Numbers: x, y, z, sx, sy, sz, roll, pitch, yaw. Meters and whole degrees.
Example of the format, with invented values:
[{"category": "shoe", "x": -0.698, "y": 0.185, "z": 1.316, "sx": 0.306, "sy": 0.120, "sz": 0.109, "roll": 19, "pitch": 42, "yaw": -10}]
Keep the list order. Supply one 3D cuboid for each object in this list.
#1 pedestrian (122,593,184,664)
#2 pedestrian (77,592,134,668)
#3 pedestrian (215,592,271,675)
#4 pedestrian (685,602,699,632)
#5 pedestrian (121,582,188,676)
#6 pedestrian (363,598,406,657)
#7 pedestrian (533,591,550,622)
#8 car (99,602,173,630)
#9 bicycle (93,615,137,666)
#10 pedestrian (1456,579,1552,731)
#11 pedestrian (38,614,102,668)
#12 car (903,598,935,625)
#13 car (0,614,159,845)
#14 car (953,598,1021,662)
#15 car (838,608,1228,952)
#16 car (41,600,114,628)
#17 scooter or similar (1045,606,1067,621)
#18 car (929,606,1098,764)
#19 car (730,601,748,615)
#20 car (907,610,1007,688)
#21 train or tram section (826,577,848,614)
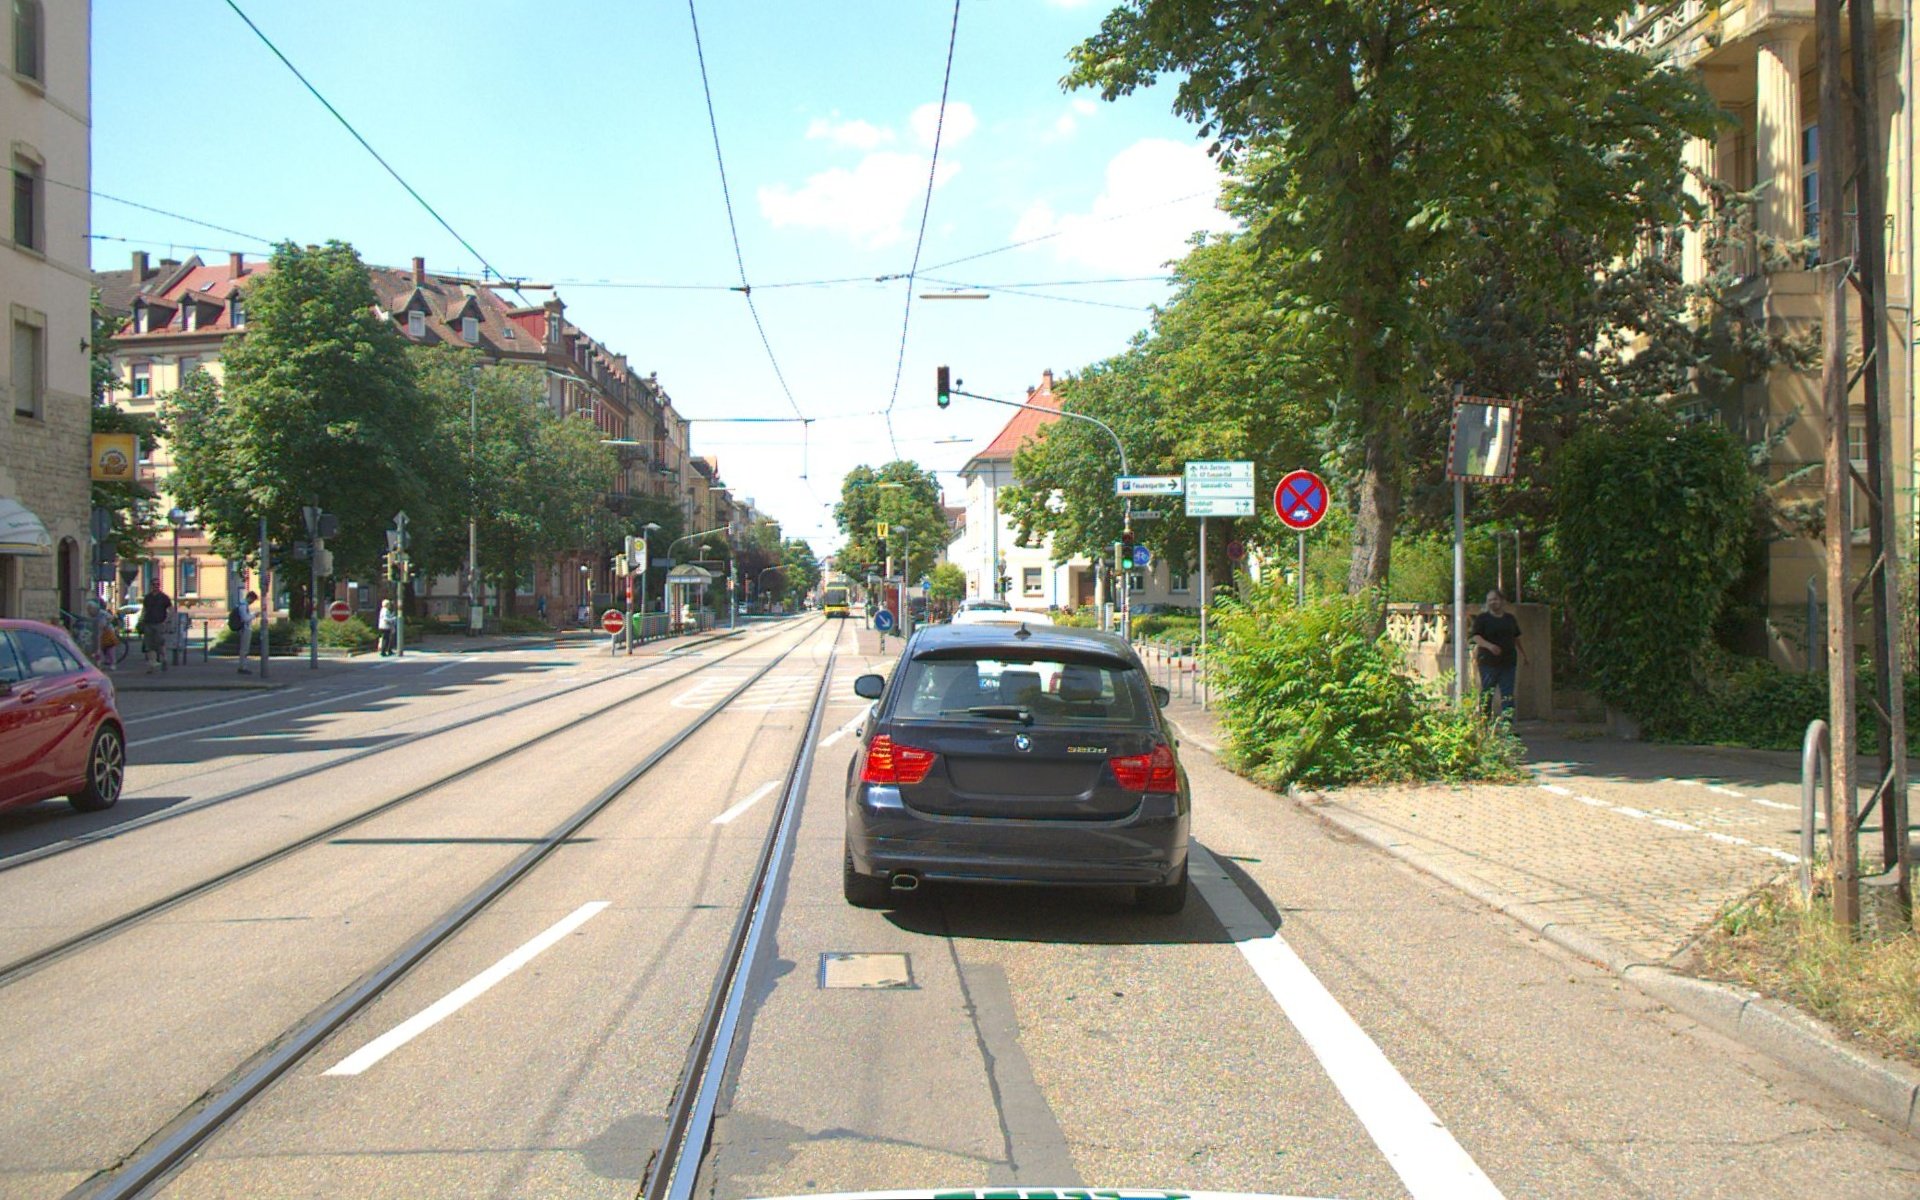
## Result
[{"category": "pedestrian", "x": -19.112, "y": 0.667, "z": 39.172, "sx": 1.002, "sy": 1.664, "sz": 0.863, "roll": 0, "pitch": 0, "yaw": 22}, {"category": "pedestrian", "x": -18.347, "y": 0.633, "z": 35.545, "sx": 0.791, "sy": 1.622, "sz": 0.918, "roll": 0, "pitch": 0, "yaw": -5}, {"category": "pedestrian", "x": -15.542, "y": 0.716, "z": 35.875, "sx": 0.842, "sy": 1.763, "sz": 0.775, "roll": 1, "pitch": 0, "yaw": -2}, {"category": "pedestrian", "x": -11.456, "y": 0.737, "z": 70.715, "sx": 0.602, "sy": 1.264, "sz": 0.626, "roll": 0, "pitch": 0, "yaw": -10}, {"category": "pedestrian", "x": -16.884, "y": 0.601, "z": 34.701, "sx": 0.883, "sy": 1.924, "sz": 1.163, "roll": 0, "pitch": 0, "yaw": -5}, {"category": "pedestrian", "x": -17.538, "y": 0.831, "z": 50.394, "sx": 0.897, "sy": 1.753, "sz": 0.840, "roll": 0, "pitch": 0, "yaw": 21}, {"category": "pedestrian", "x": -24.739, "y": 0.394, "z": 97.736, "sx": 0.629, "sy": 1.843, "sz": 0.736, "roll": -1, "pitch": 0, "yaw": 41}, {"category": "car", "x": -44.314, "y": 0.839, "z": 88.953, "sx": 3.388, "sy": 1.497, "sz": 1.685, "roll": 0, "pitch": 0, "yaw": 21}, {"category": "bicycle", "x": -19.588, "y": 0.944, "z": 38.313, "sx": 0.539, "sy": 1.148, "sz": 1.658, "roll": 0, "pitch": -2, "yaw": -40}, {"category": "pedestrian", "x": 6.169, "y": 0.610, "z": 18.795, "sx": 0.839, "sy": 1.674, "sz": 0.837, "roll": -1, "pitch": 0, "yaw": 3}, {"category": "pedestrian", "x": -18.775, "y": 0.858, "z": 34.915, "sx": 0.897, "sy": 1.096, "sz": 0.882, "roll": 0, "pitch": 0, "yaw": -3}, {"category": "car", "x": -3.056, "y": 0.832, "z": 121.223, "sx": 1.956, "sy": 1.881, "sz": 3.994, "roll": 0, "pitch": 0, "yaw": -7}, {"category": "car", "x": -7.036, "y": 0.862, "z": 10.883, "sx": 1.788, "sy": 1.438, "sz": 4.422, "roll": -2, "pitch": 0, "yaw": -7}, {"category": "car", "x": 0.653, "y": 0.727, "z": 41.913, "sx": 1.656, "sy": 1.540, "sz": 3.821, "roll": 0, "pitch": 0, "yaw": 0}, {"category": "car", "x": 0.377, "y": 0.809, "z": 9.618, "sx": 1.687, "sy": 1.433, "sz": 4.565, "roll": 2, "pitch": 0, "yaw": 1}, {"category": "car", "x": -48.009, "y": 0.776, "z": 89.956, "sx": 3.388, "sy": 1.497, "sz": 1.685, "roll": 0, "pitch": 0, "yaw": 21}, {"category": "scooter or similar", "x": 5.826, "y": 0.813, "z": 100.254, "sx": 1.287, "sy": 0.852, "sz": 0.525, "roll": 0, "pitch": 0, "yaw": -9}, {"category": "car", "x": 0.530, "y": 0.843, "z": 18.102, "sx": 1.650, "sy": 1.510, "sz": 3.684, "roll": 0, "pitch": 0, "yaw": 0}, {"category": "car", "x": -26.048, "y": 0.932, "z": 194.485, "sx": 1.756, "sy": 1.614, "sz": 3.988, "roll": 1, "pitch": -1, "yaw": -12}, {"category": "car", "x": -0.112, "y": 0.864, "z": 30.698, "sx": 1.657, "sy": 1.346, "sz": 3.819, "roll": 0, "pitch": 0, "yaw": -3}, {"category": "train or tram section", "x": -12.354, "y": -0.452, "z": 166.724, "sx": 2.147, "sy": 3.543, "sz": 8.837, "roll": 0, "pitch": 0, "yaw": -4}]
